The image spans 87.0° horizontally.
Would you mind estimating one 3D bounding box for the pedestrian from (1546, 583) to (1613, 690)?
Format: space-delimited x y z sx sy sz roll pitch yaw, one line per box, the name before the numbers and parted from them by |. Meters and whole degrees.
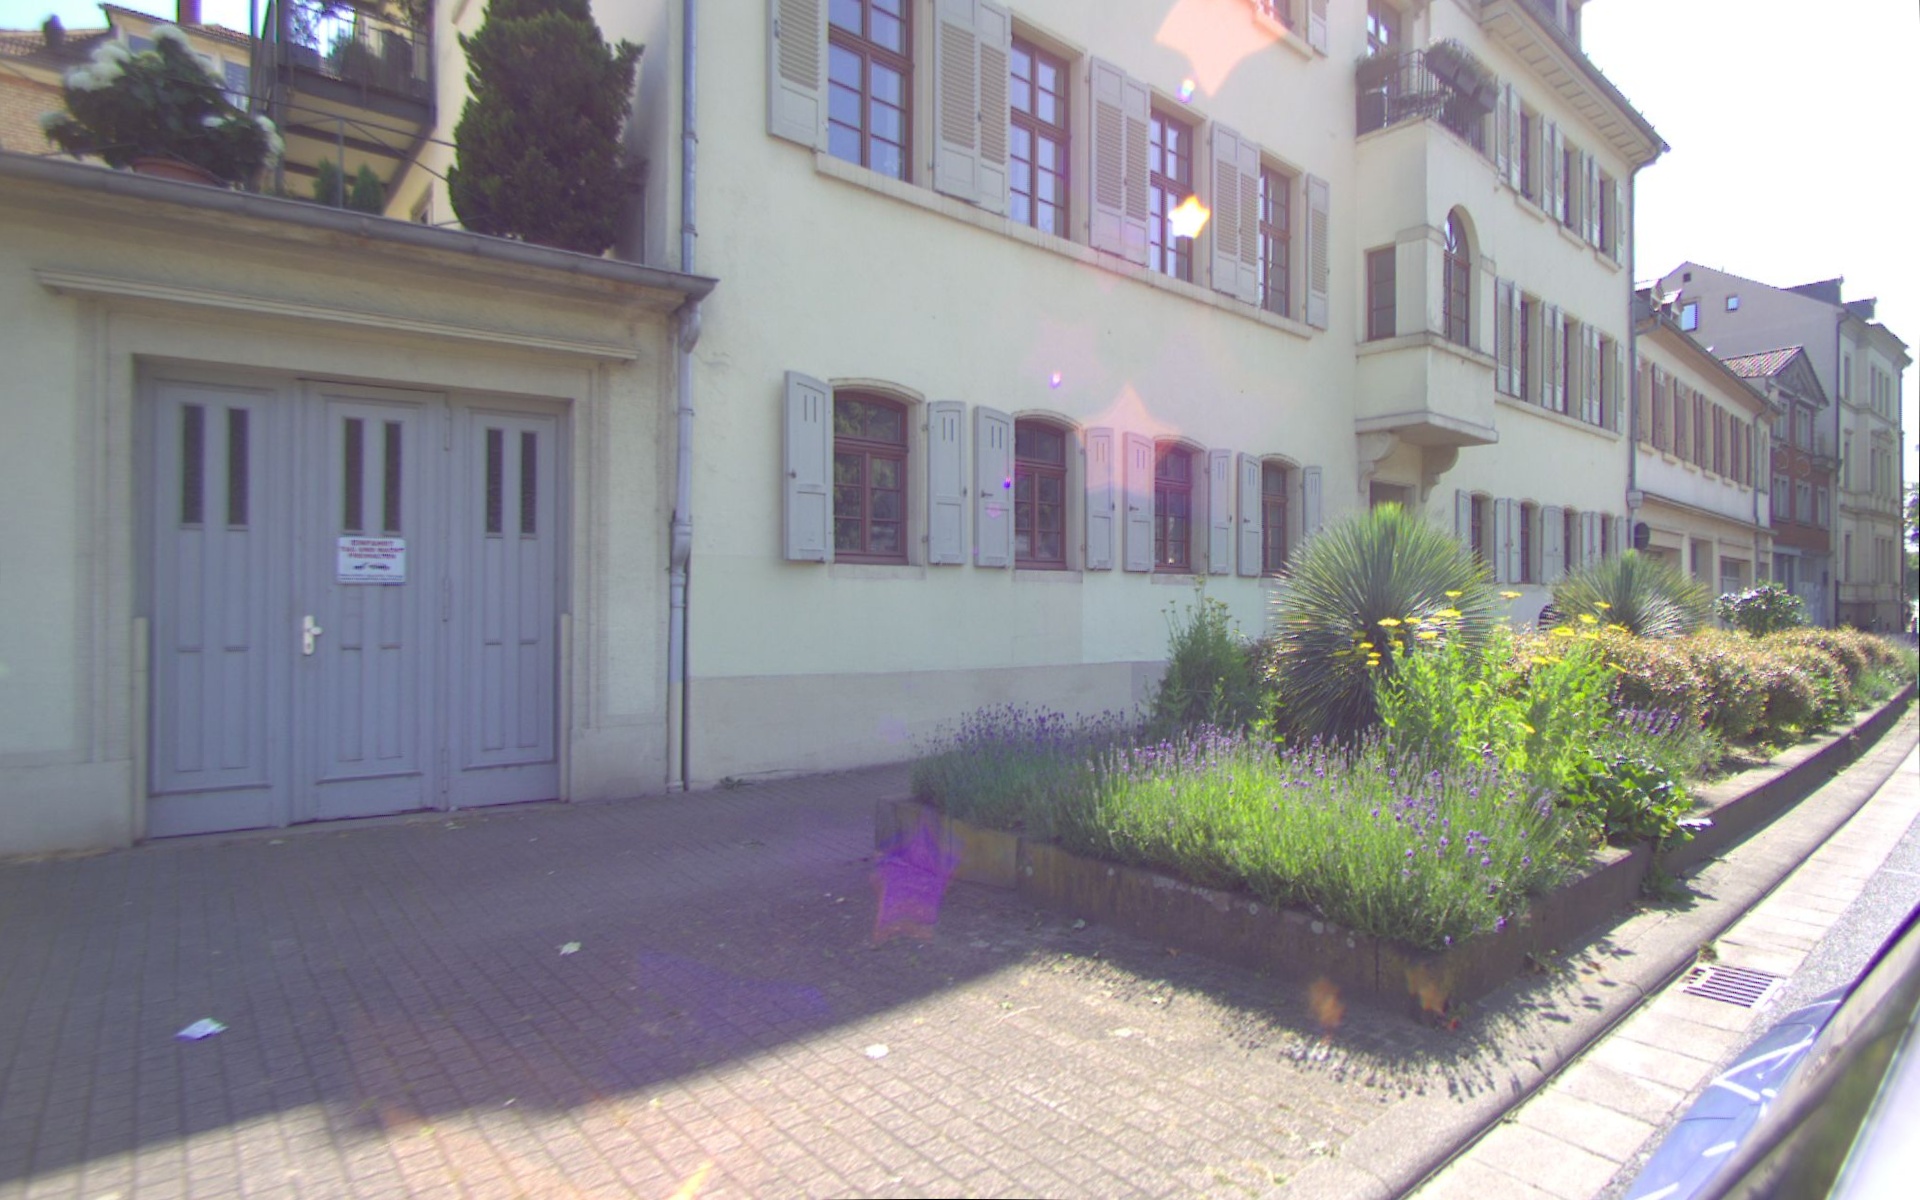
pedestrian | 10.564 0.598 17.261 0.684 1.734 0.763 0 3 -43
